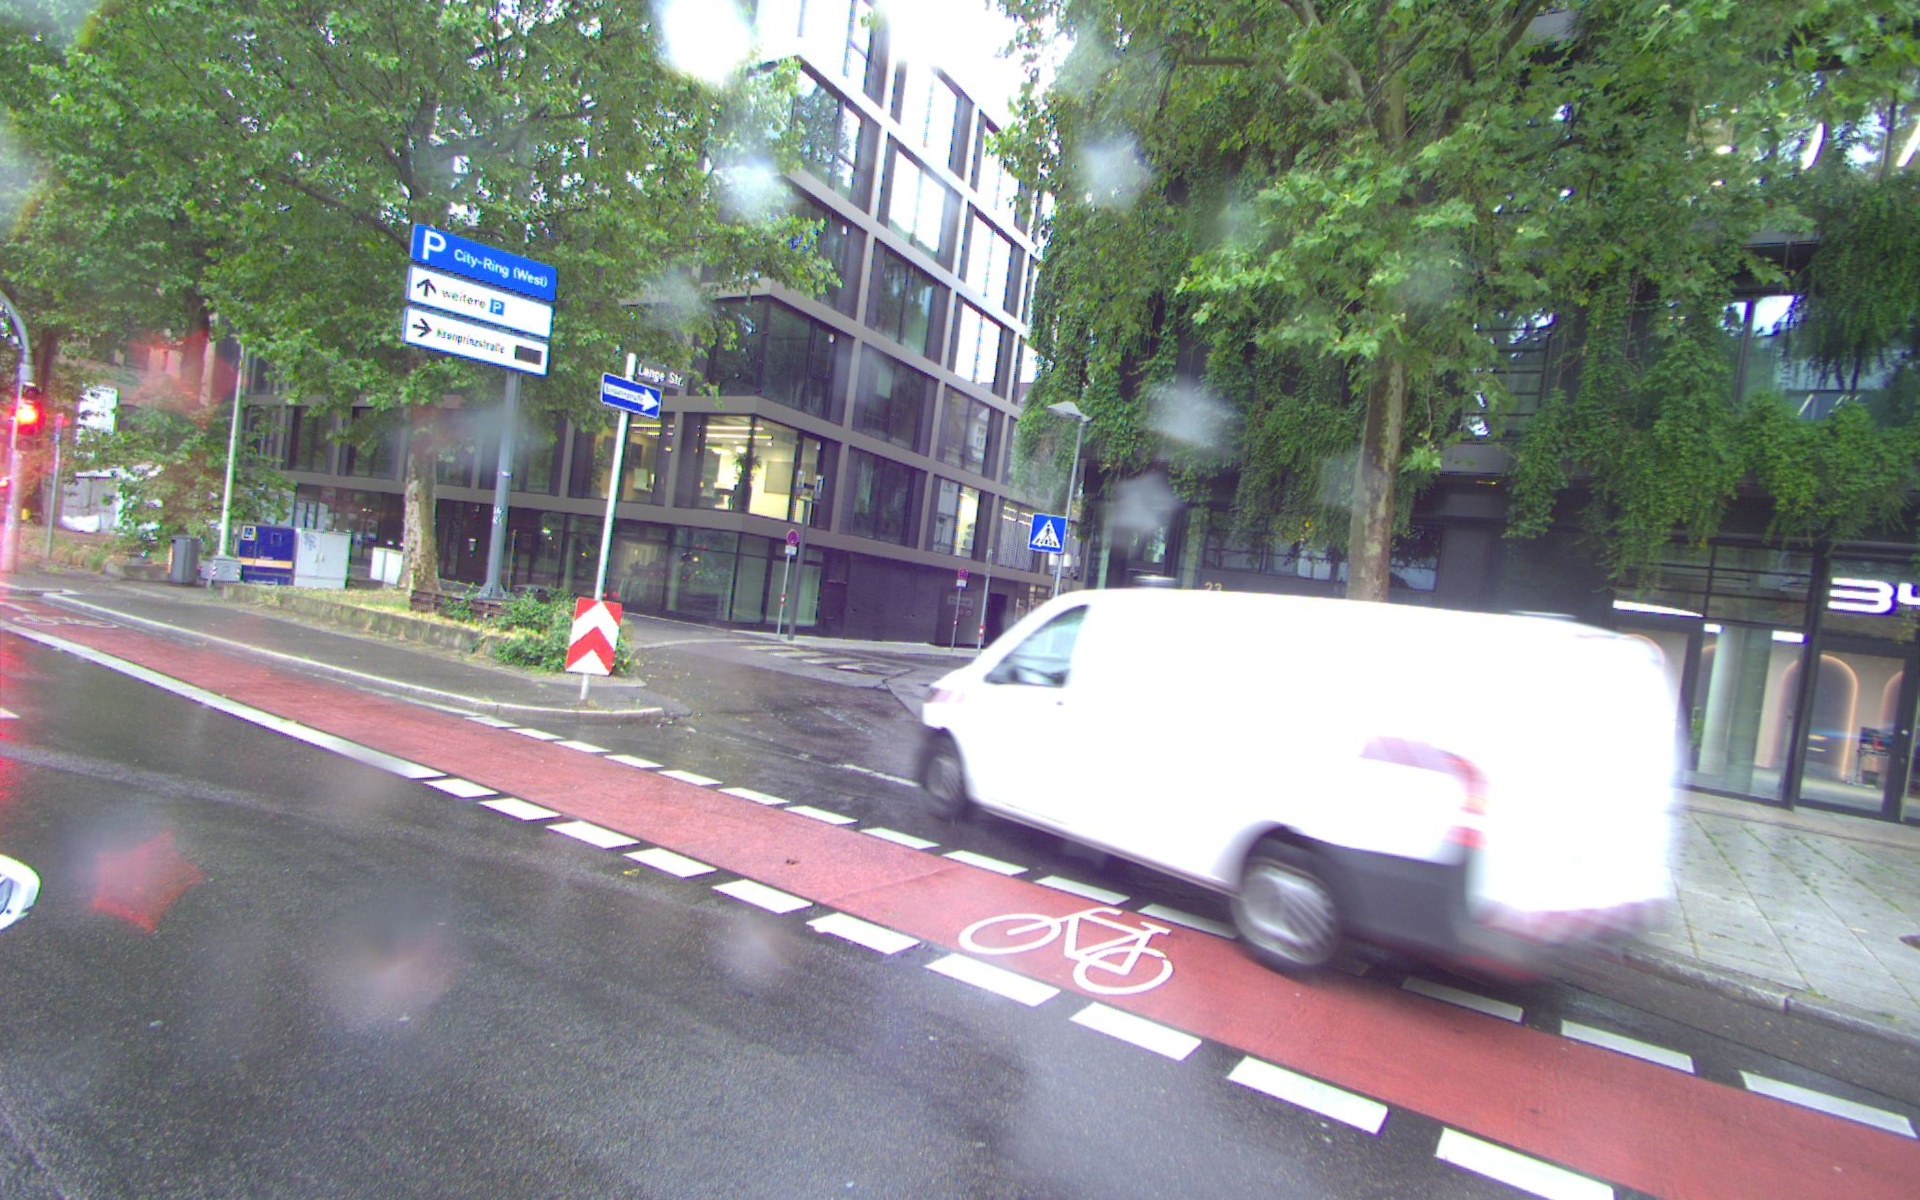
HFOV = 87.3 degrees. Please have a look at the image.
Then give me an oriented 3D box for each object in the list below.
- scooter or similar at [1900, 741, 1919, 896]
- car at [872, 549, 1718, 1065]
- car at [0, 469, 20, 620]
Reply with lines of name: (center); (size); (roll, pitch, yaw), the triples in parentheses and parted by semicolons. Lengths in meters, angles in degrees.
scooter or similar: (8.495, 1.878, 8.099); (0.528, 1.297, 1.184); (7, -1, -8)
car: (1.550, 0.831, 6.559); (1.908, 1.969, 4.919); (8, -1, -34)
car: (-12.151, -0.759, 10.862); (3.935, 1.717, 1.881); (6, -2, 33)
